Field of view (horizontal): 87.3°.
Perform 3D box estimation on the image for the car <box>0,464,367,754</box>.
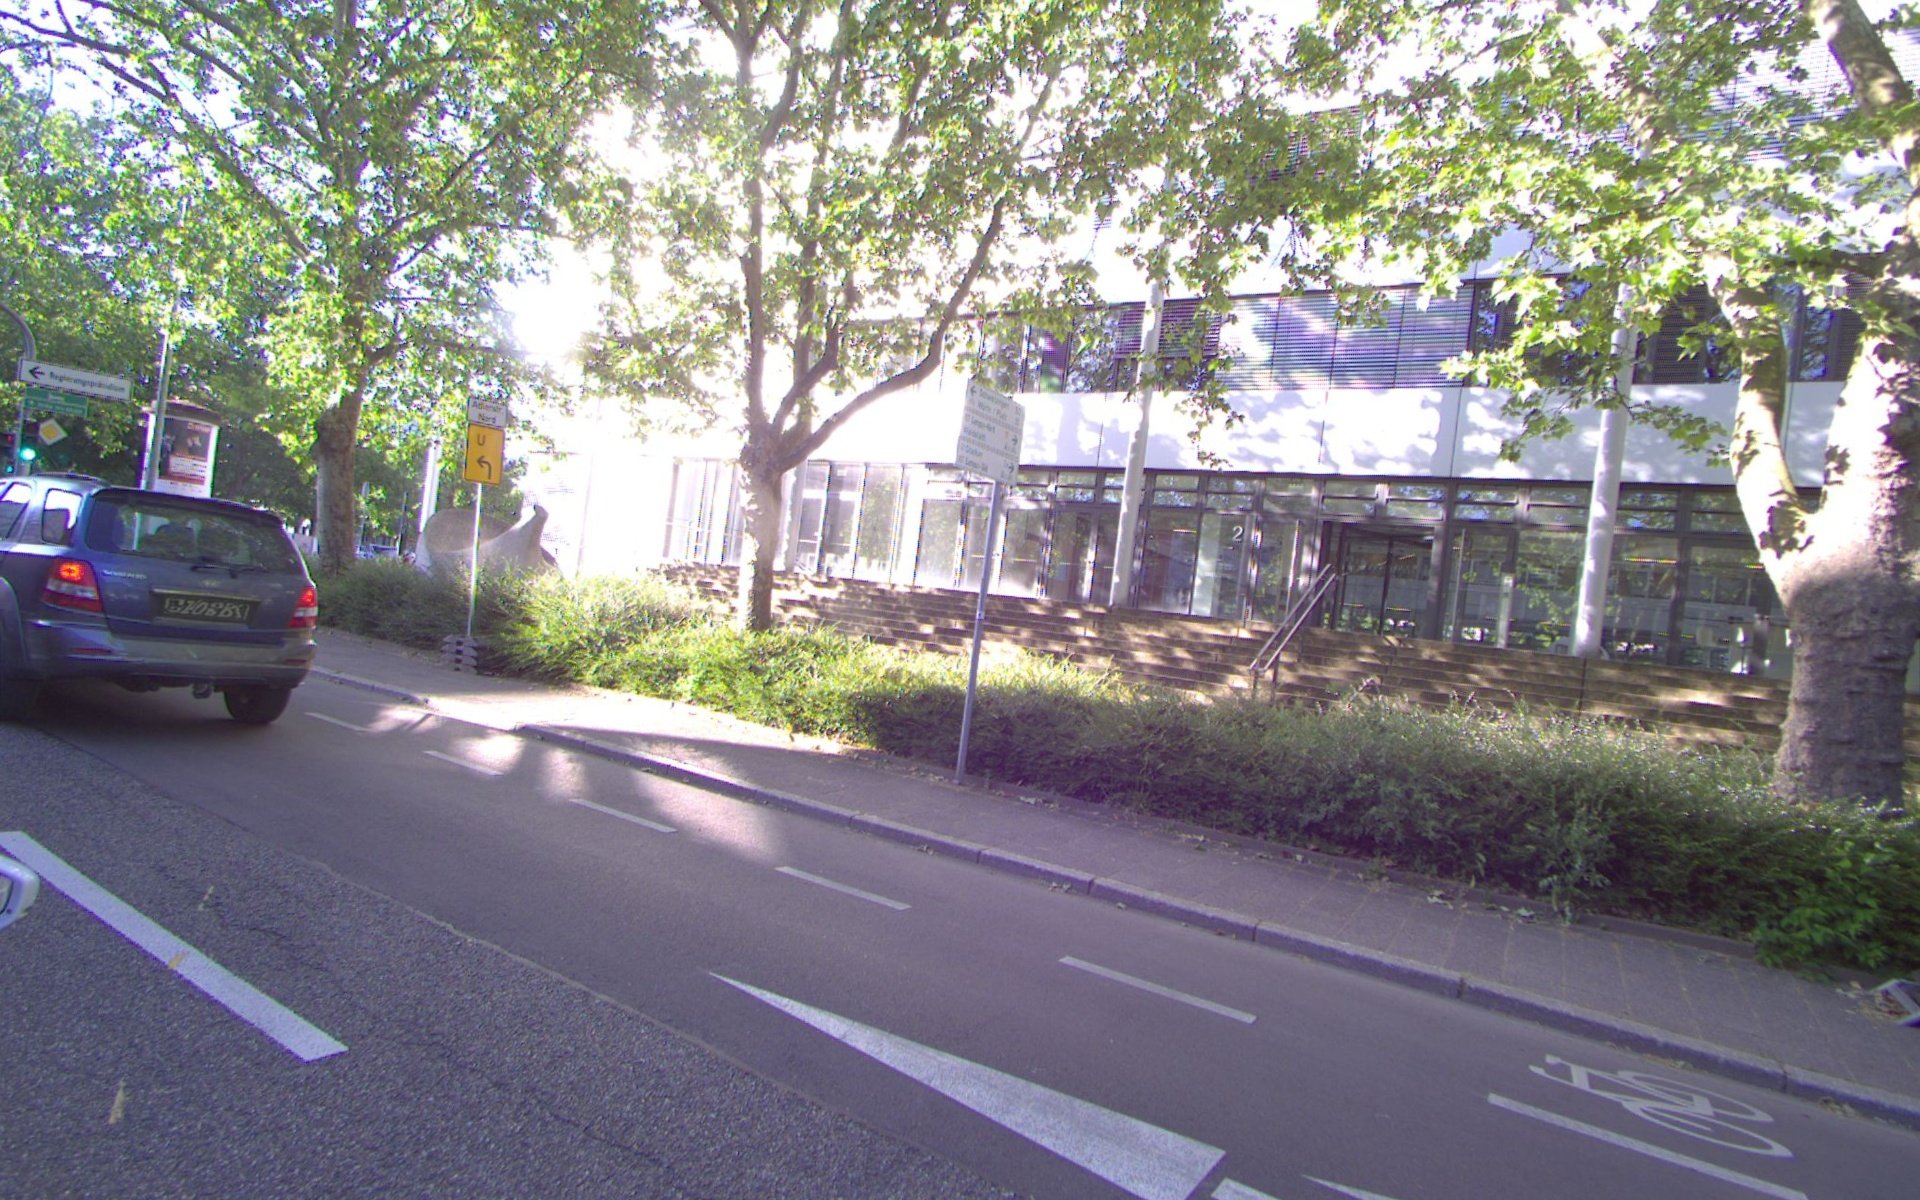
[{"bbox_3d":[-7.075,-0.056,8.215,4.407,1.784,1.865,7,-1,32],"label":"car"}]
